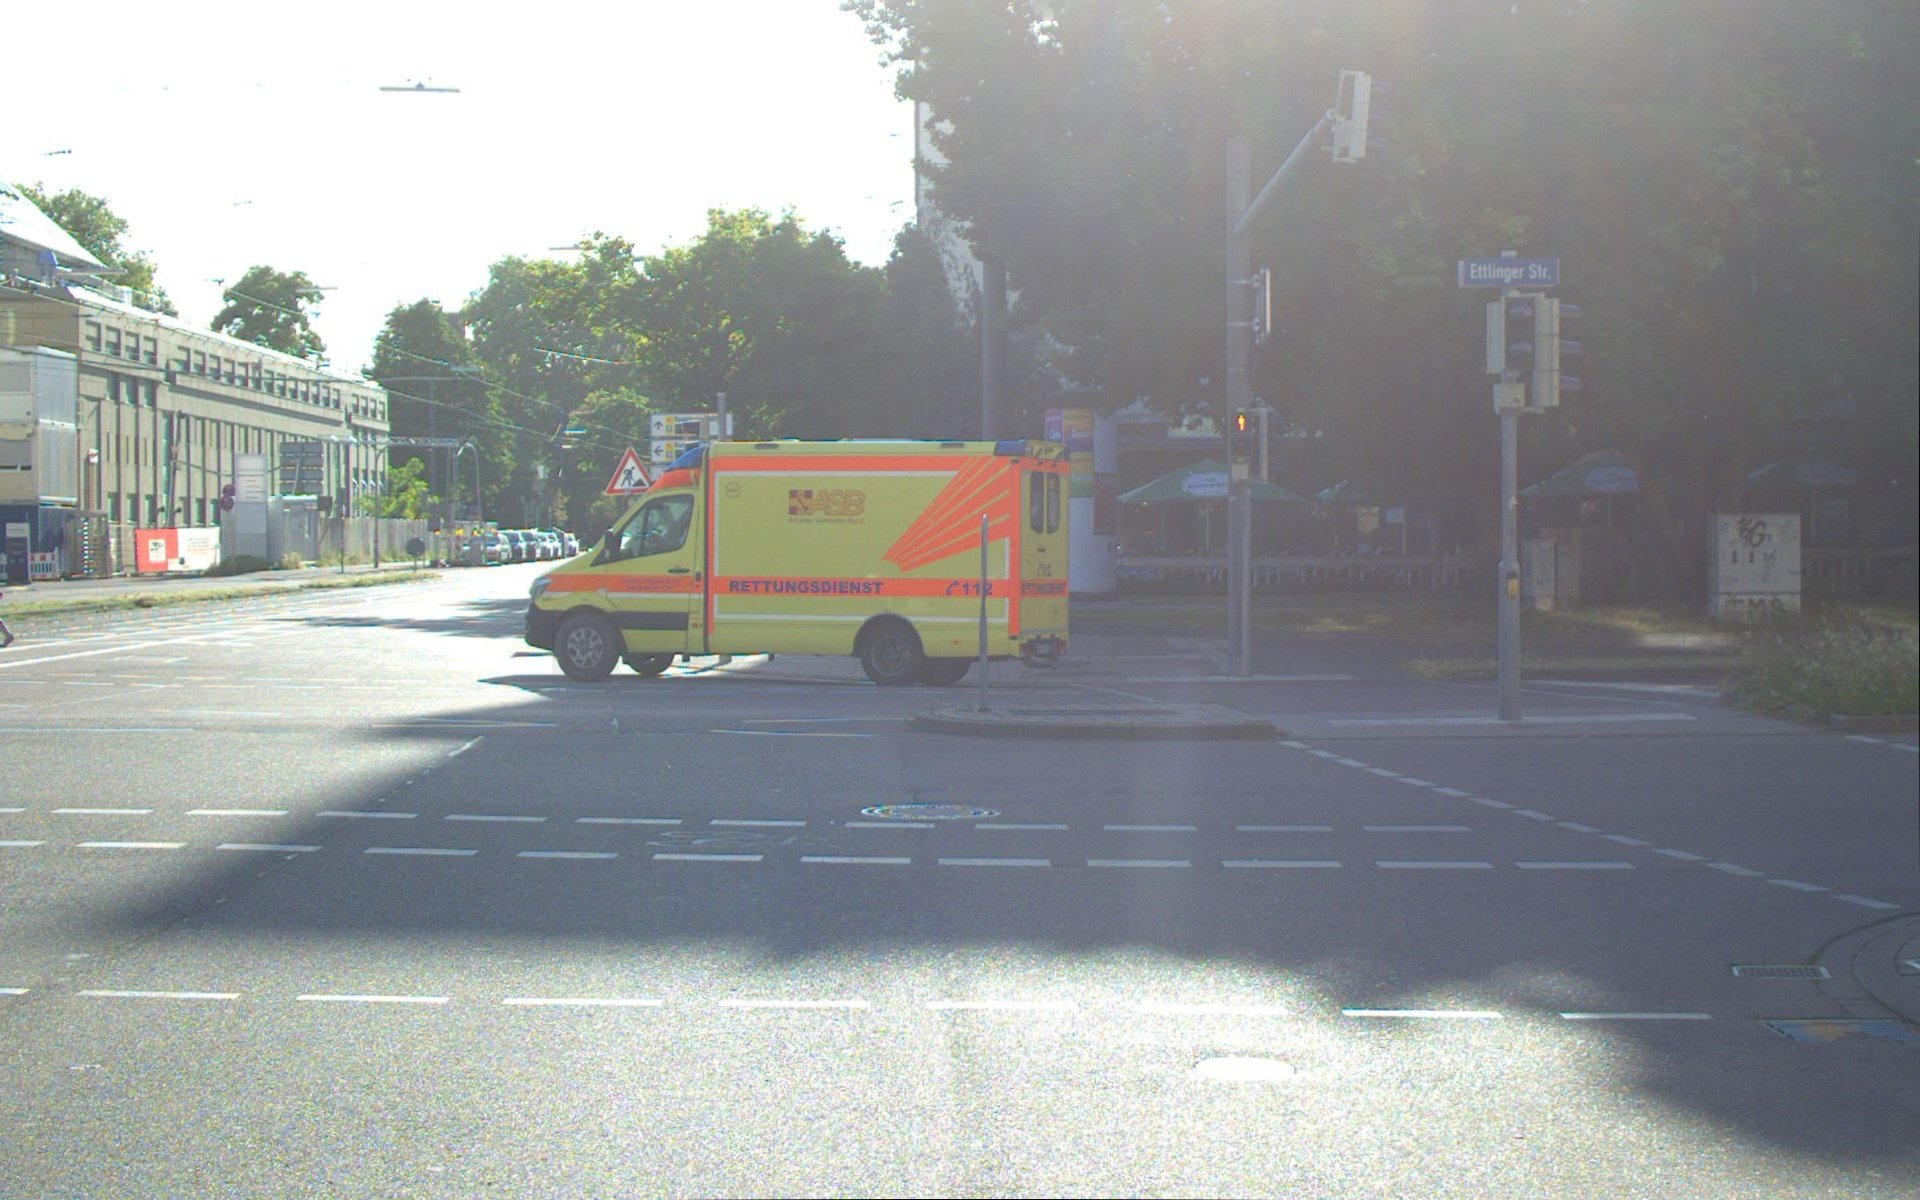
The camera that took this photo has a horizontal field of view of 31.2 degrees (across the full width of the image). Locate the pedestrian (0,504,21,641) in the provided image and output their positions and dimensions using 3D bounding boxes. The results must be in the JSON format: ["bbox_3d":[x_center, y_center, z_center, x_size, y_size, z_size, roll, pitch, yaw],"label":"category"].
[{"bbox_3d":[-12.887,-0.363,45.235,0.870,1.797,0.532,0,1,5],"label":"pedestrian"}]

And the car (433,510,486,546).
[{"bbox_3d":[-22.741,-3.286,156.349,1.894,1.601,4.501,-1,1,-2],"label":"car"}]

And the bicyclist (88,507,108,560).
[{"bbox_3d":[-32.574,-2.509,129.863,0.571,2.017,0.762,0,1,-2],"label":"bicyclist"}]

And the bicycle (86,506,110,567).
[{"bbox_3d":[-32.567,-2.402,129.831,0.571,2.288,1.422,0,1,-2],"label":"bicycle"}]

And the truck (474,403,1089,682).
[{"bbox_3d":[-2.014,-0.656,39.298,6.473,3.005,2.723,0,1,18],"label":"truck"}]
